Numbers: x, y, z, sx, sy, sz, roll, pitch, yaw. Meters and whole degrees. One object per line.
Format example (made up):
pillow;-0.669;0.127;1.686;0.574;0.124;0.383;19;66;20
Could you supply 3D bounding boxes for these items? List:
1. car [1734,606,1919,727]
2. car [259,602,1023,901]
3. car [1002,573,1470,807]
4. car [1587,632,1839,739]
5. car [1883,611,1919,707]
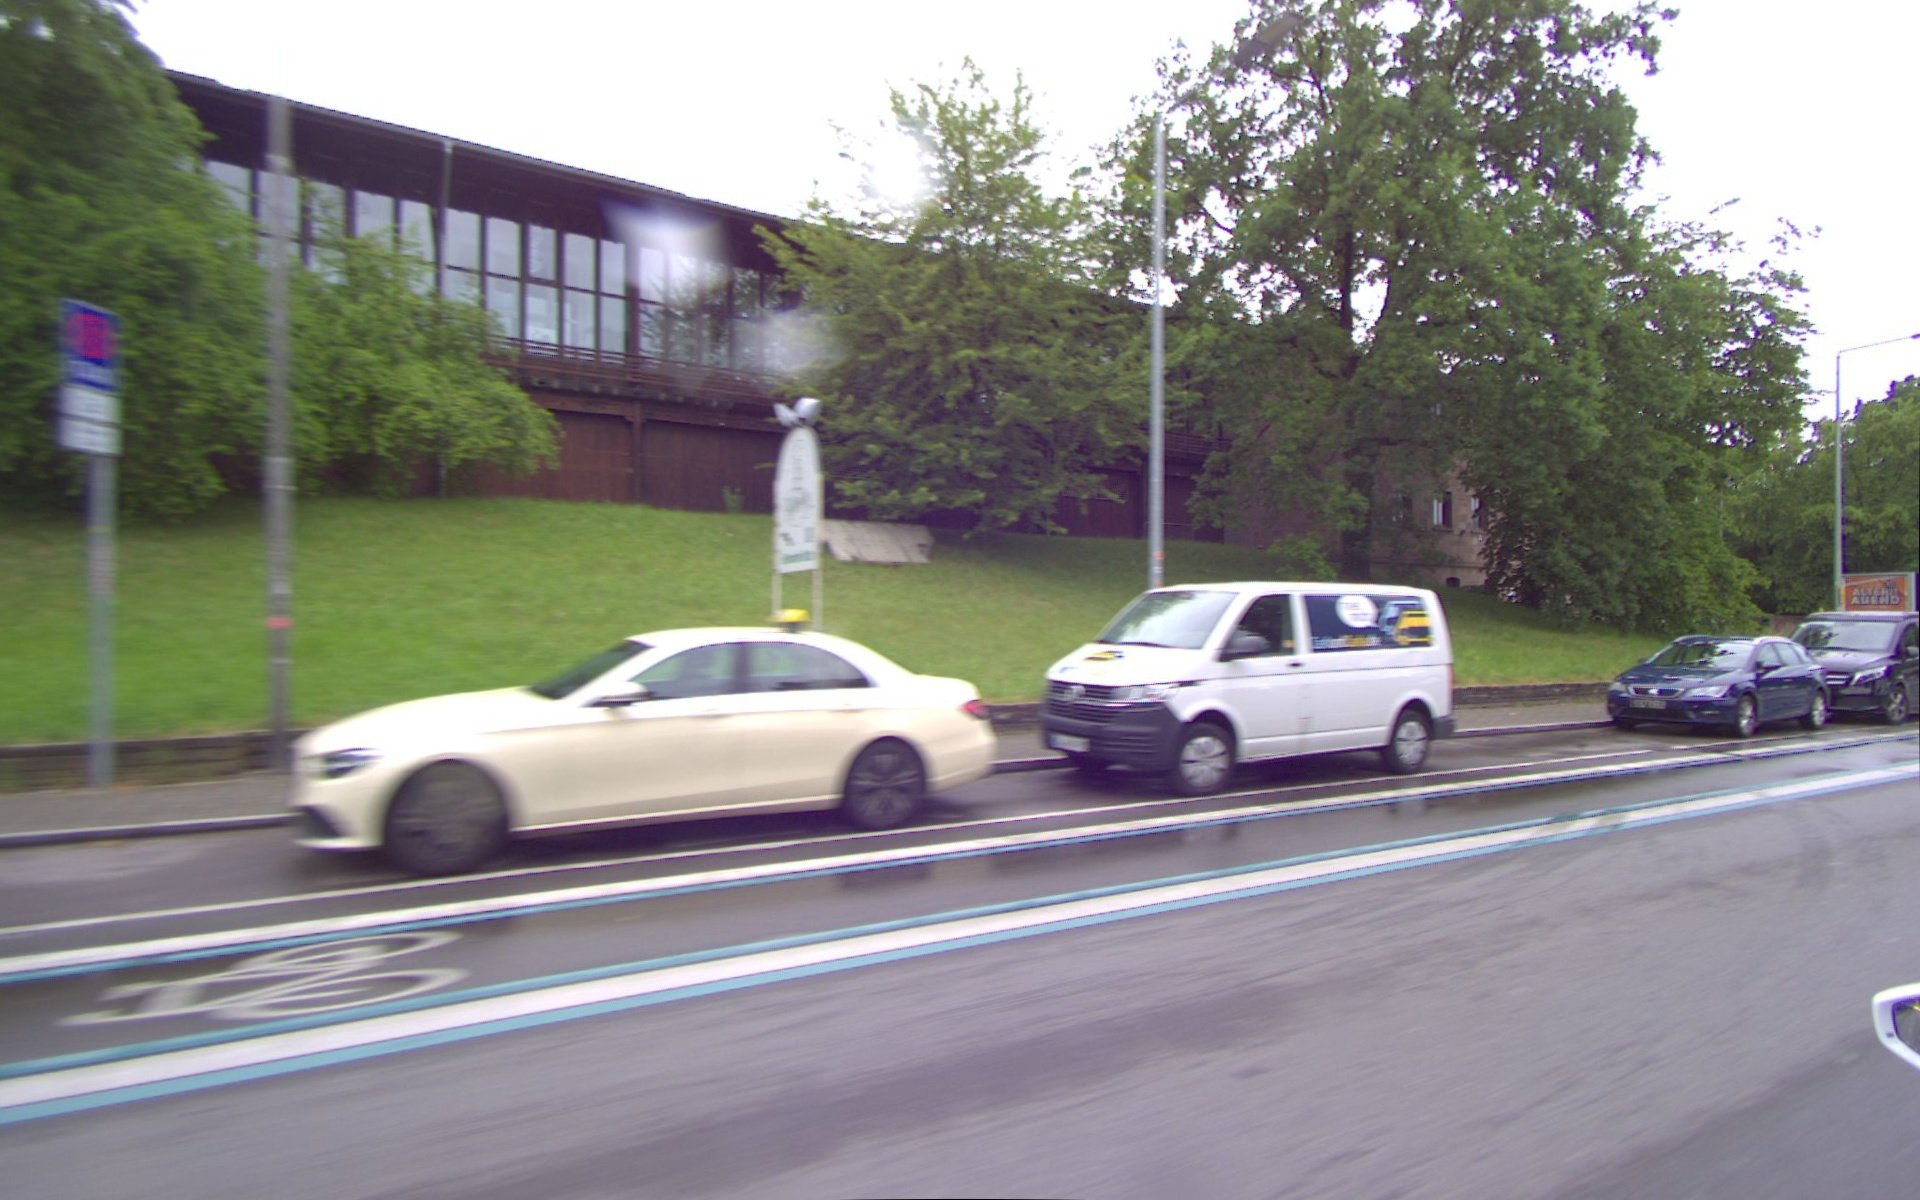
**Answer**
car;16.619;1.101;18.561;5.082;1.972;1.980;0;0;-31
car;-2.126;0.869;7.548;4.924;1.627;1.982;1;-1;-29
car;2.979;0.770;10.474;4.871;1.957;1.903;0;0;-31
car;11.941;1.251;15.864;4.320;1.409;1.722;0;0;-31
car;21.979;1.228;21.647;4.771;1.971;1.873;0;0;-32
